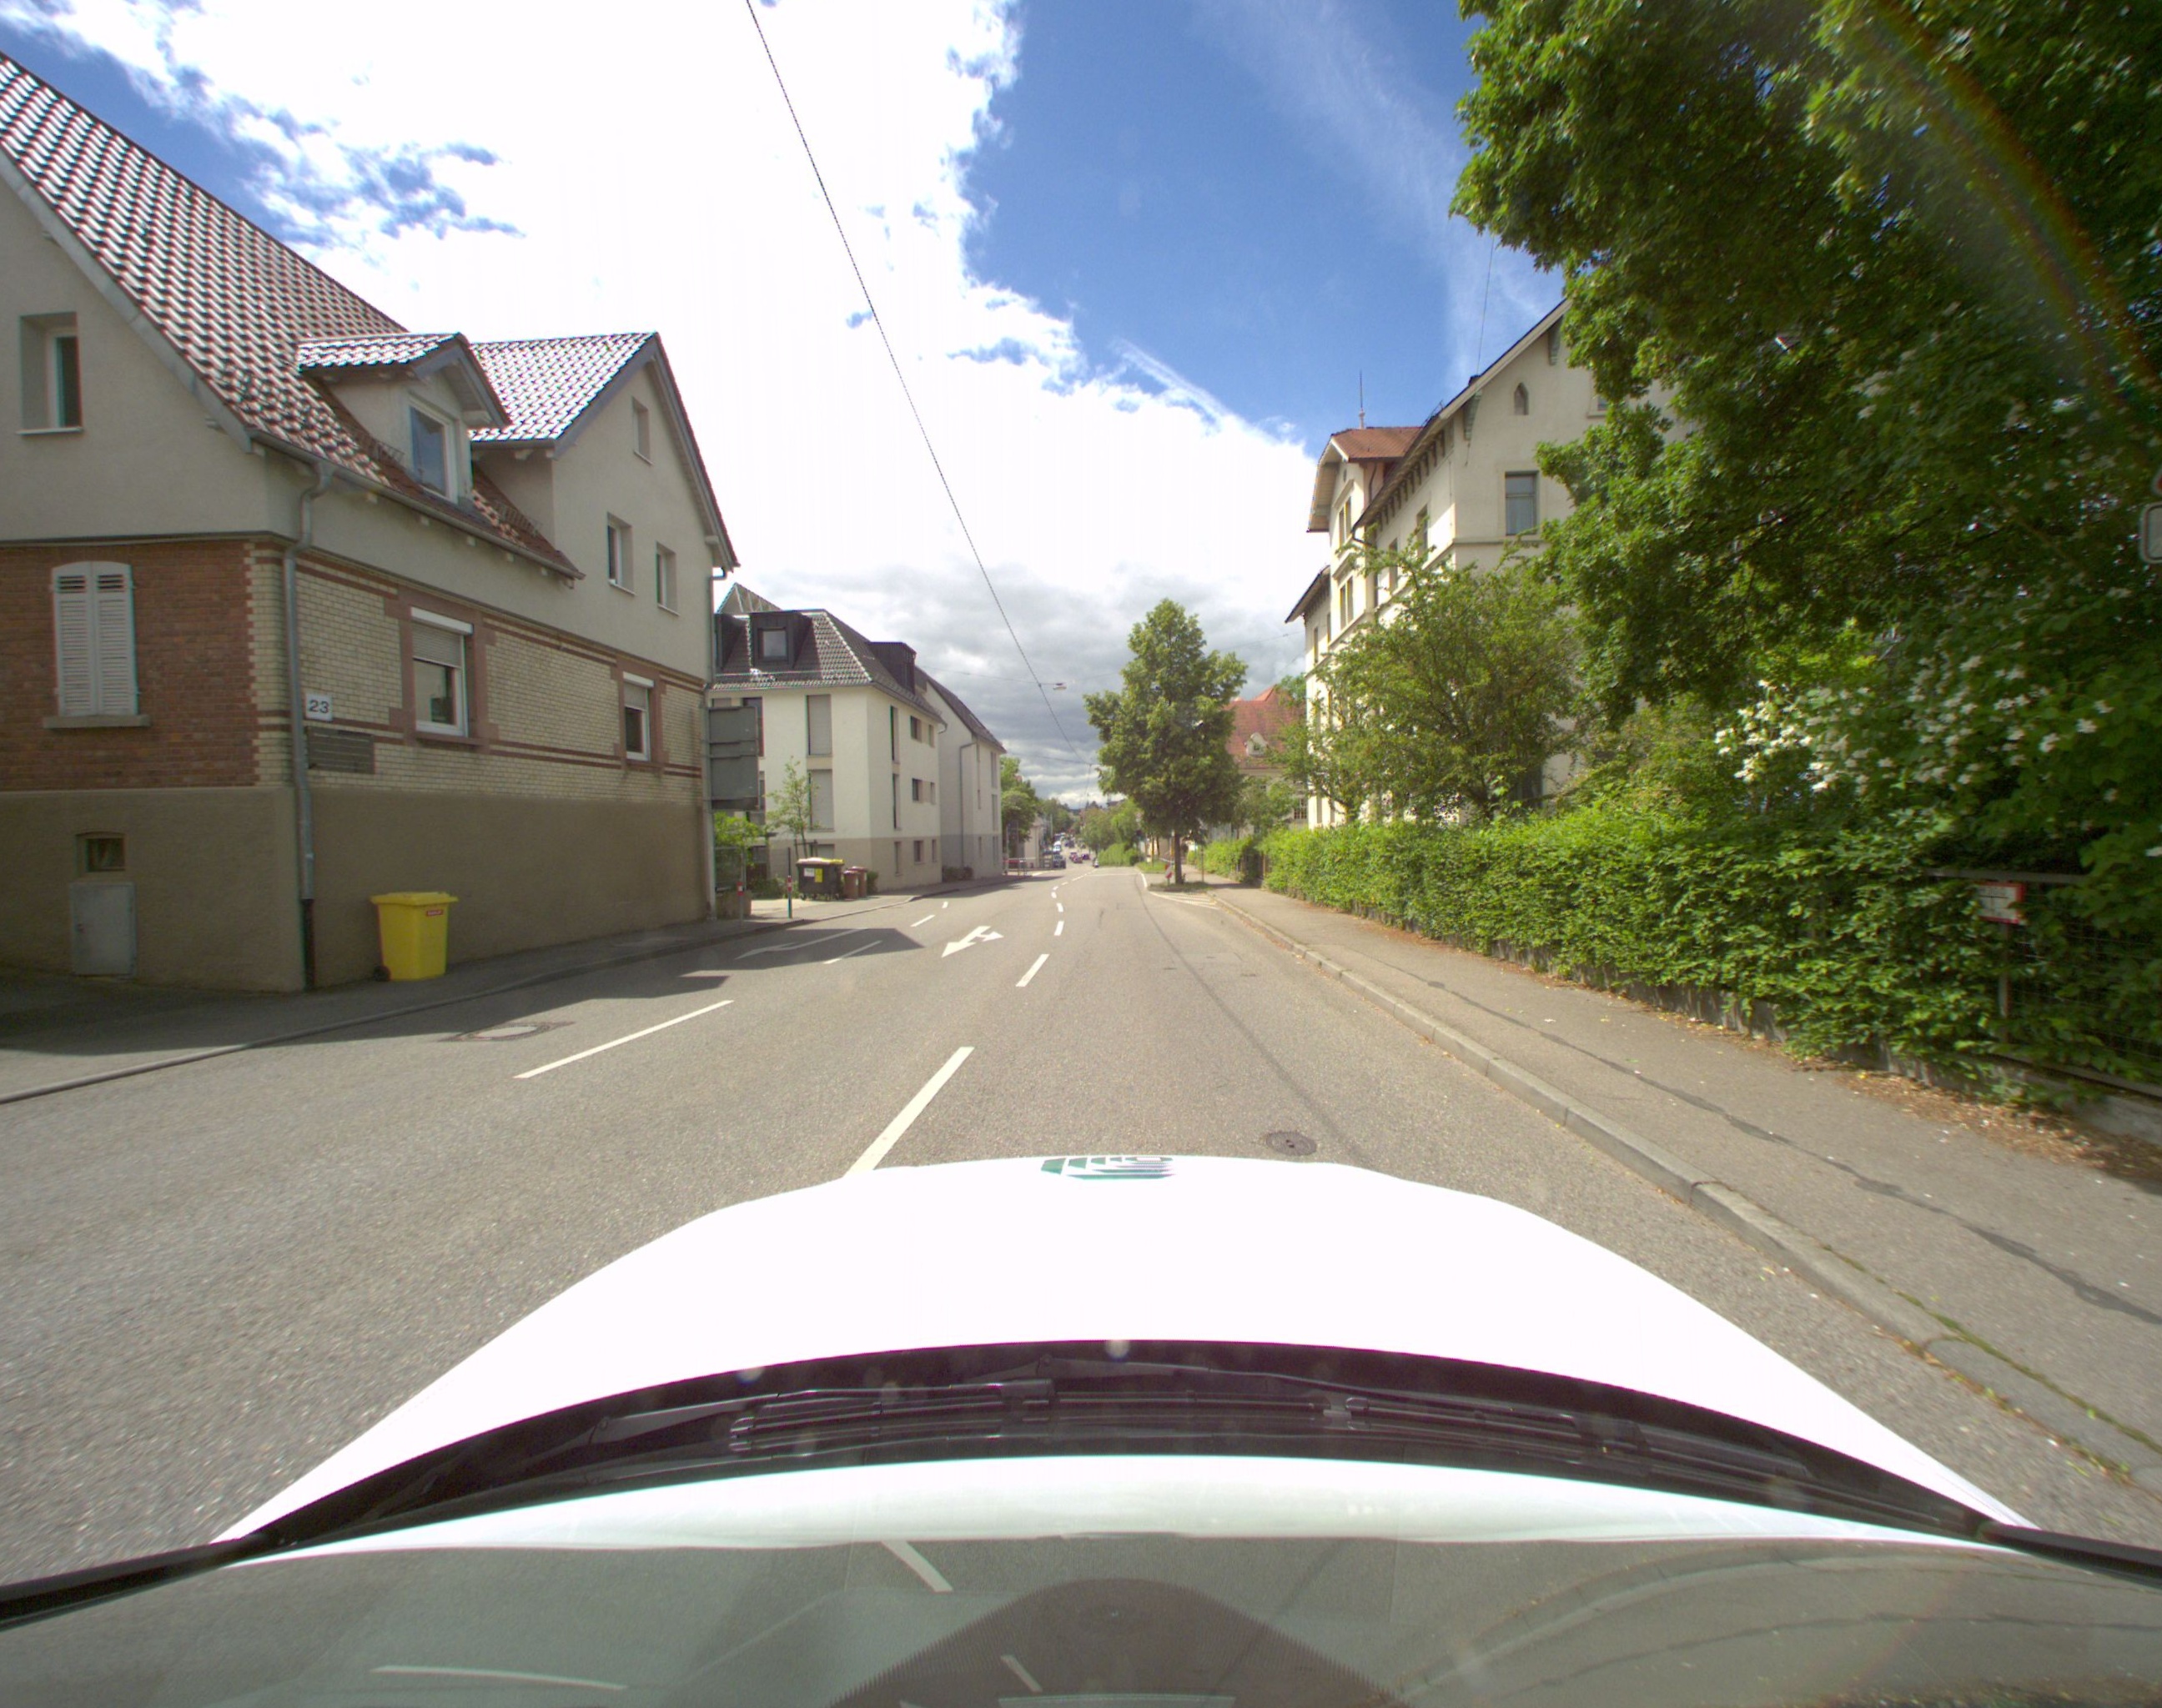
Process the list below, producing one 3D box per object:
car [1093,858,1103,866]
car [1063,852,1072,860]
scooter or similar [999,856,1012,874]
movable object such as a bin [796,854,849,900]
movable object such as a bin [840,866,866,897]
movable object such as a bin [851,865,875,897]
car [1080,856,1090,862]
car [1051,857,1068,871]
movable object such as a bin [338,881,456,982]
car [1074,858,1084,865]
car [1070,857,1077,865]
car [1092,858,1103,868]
[{"bbox_3d":[3.103,1.519,149.288,1.781,1.509,4.361,0,-1,-2],"label":"car"},{"bbox_3d":[-3.256,0.499,198.808,1.835,1.862,3.840,0,0,-8],"label":"car"},{"bbox_3d":[-5.404,0.782,58.165,0.492,1.261,1.296,-1,-1,-26],"label":"scooter or similar"},{"bbox_3d":[-8.427,0.729,26.586,1.330,1.446,1.170,-1,0,-1],"label":"movable object such as a bin"},{"bbox_3d":[-7.649,0.928,27.324,0.638,1.000,0.657,-1,0,2],"label":"movable object such as a bin"},{"bbox_3d":[-7.520,0.920,28.067,0.638,1.075,0.660,-1,0,0],"label":"movable object such as a bin"},{"bbox_3d":[1.030,1.167,195.485,1.752,1.371,3.988,-1,0,-8],"label":"car"},{"bbox_3d":[-2.415,1.119,92.619,1.789,1.610,4.645,-1,0,0],"label":"car"},{"bbox_3d":[-8.443,0.938,10.087,0.762,1.161,0.803,-1,0,1],"label":"movable object such as a bin"},{"bbox_3d":[-0.502,1.669,179.986,1.742,1.417,3.991,-1,0,-6],"label":"car"},{"bbox_3d":[-1.782,1.584,189.096,1.274,1.527,3.041,-2,3,-10],"label":"car"},{"bbox_3d":[3.081,1.741,155.149,1.839,1.768,4.511,0,-1,-2],"label":"car"}]
